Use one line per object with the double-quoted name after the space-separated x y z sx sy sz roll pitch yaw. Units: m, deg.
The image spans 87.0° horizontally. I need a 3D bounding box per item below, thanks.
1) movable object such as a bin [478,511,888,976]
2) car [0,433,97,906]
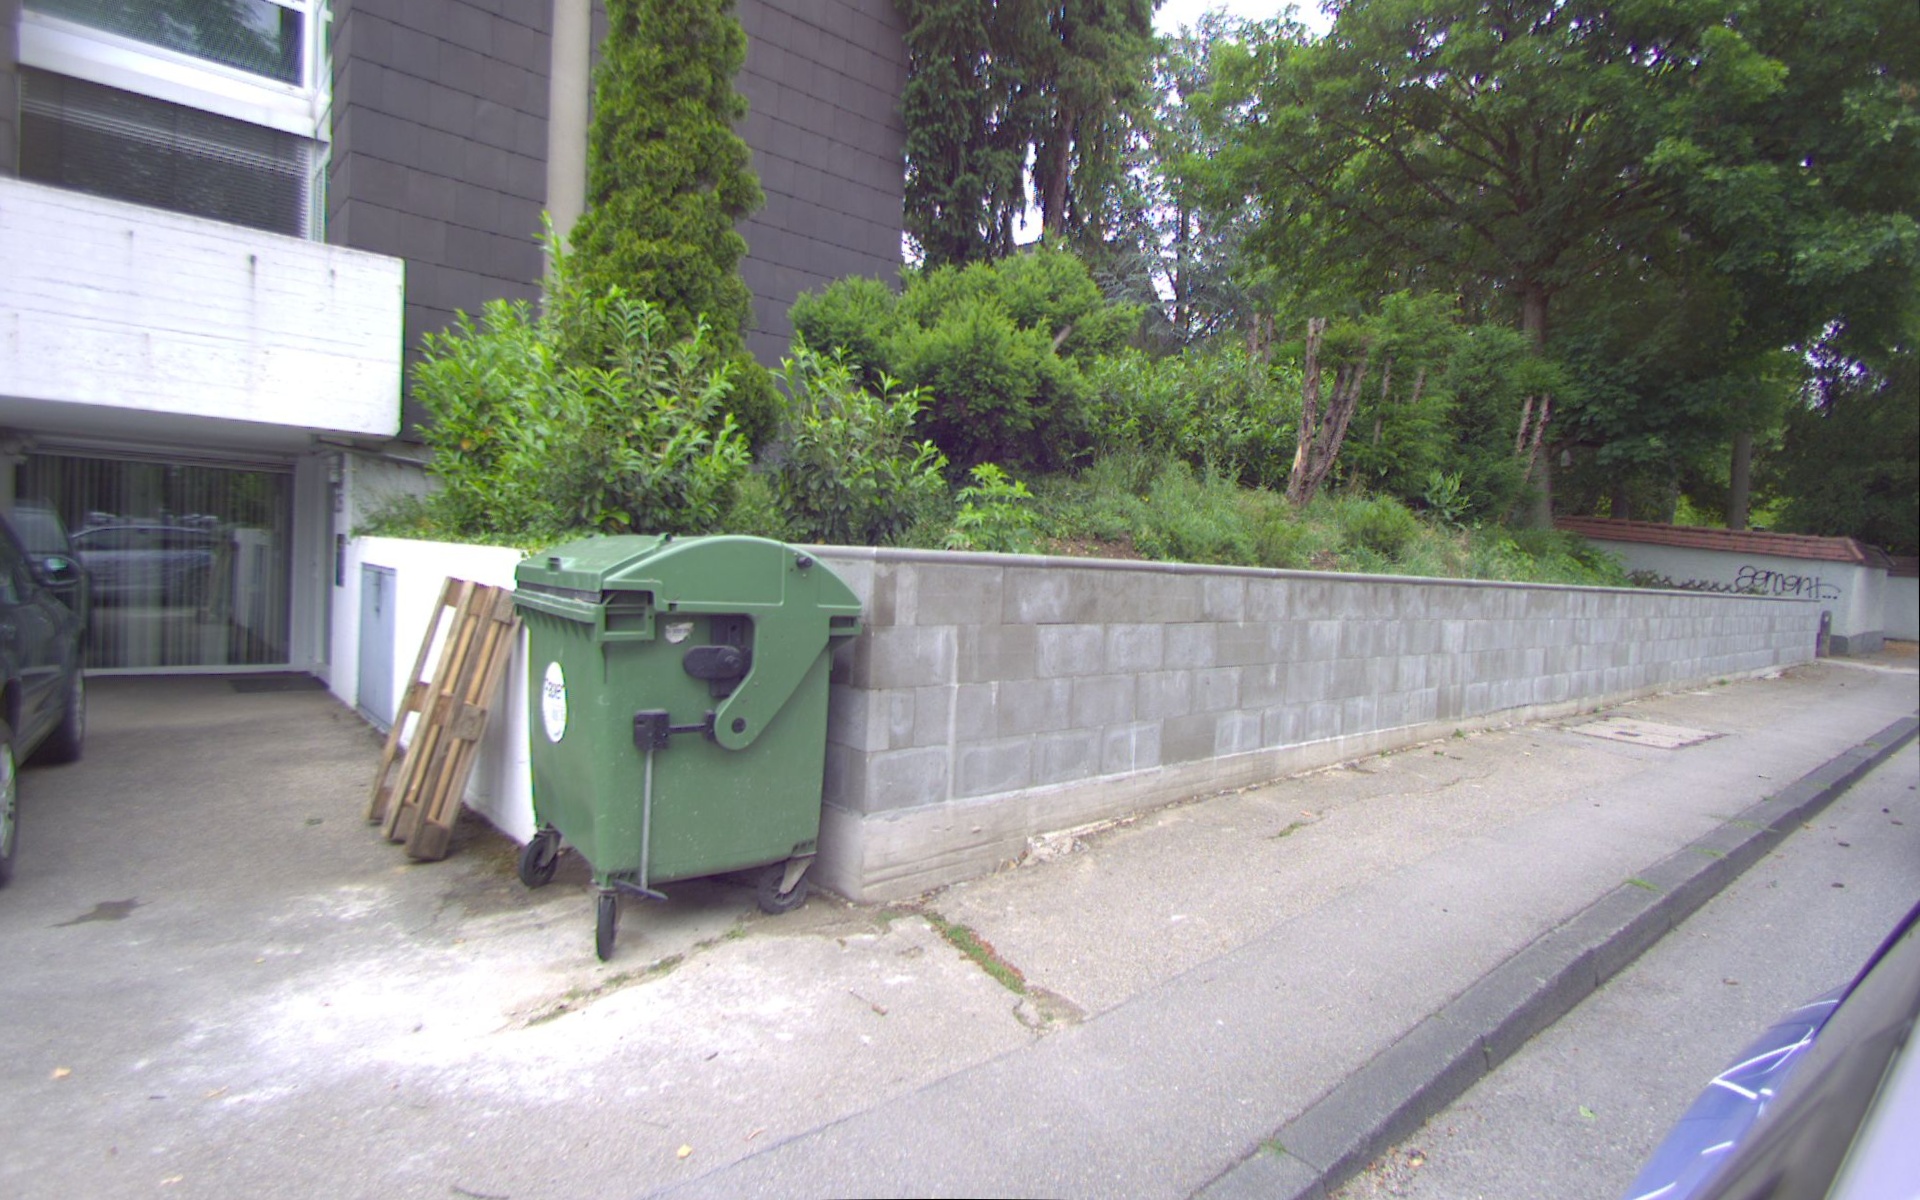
-1.157 0.415 4.074 1.096 1.469 1.407 0 3 -40 "movable object such as a bin"
-5.022 0.147 4.348 1.712 1.671 3.914 0 4 -36 "car"
